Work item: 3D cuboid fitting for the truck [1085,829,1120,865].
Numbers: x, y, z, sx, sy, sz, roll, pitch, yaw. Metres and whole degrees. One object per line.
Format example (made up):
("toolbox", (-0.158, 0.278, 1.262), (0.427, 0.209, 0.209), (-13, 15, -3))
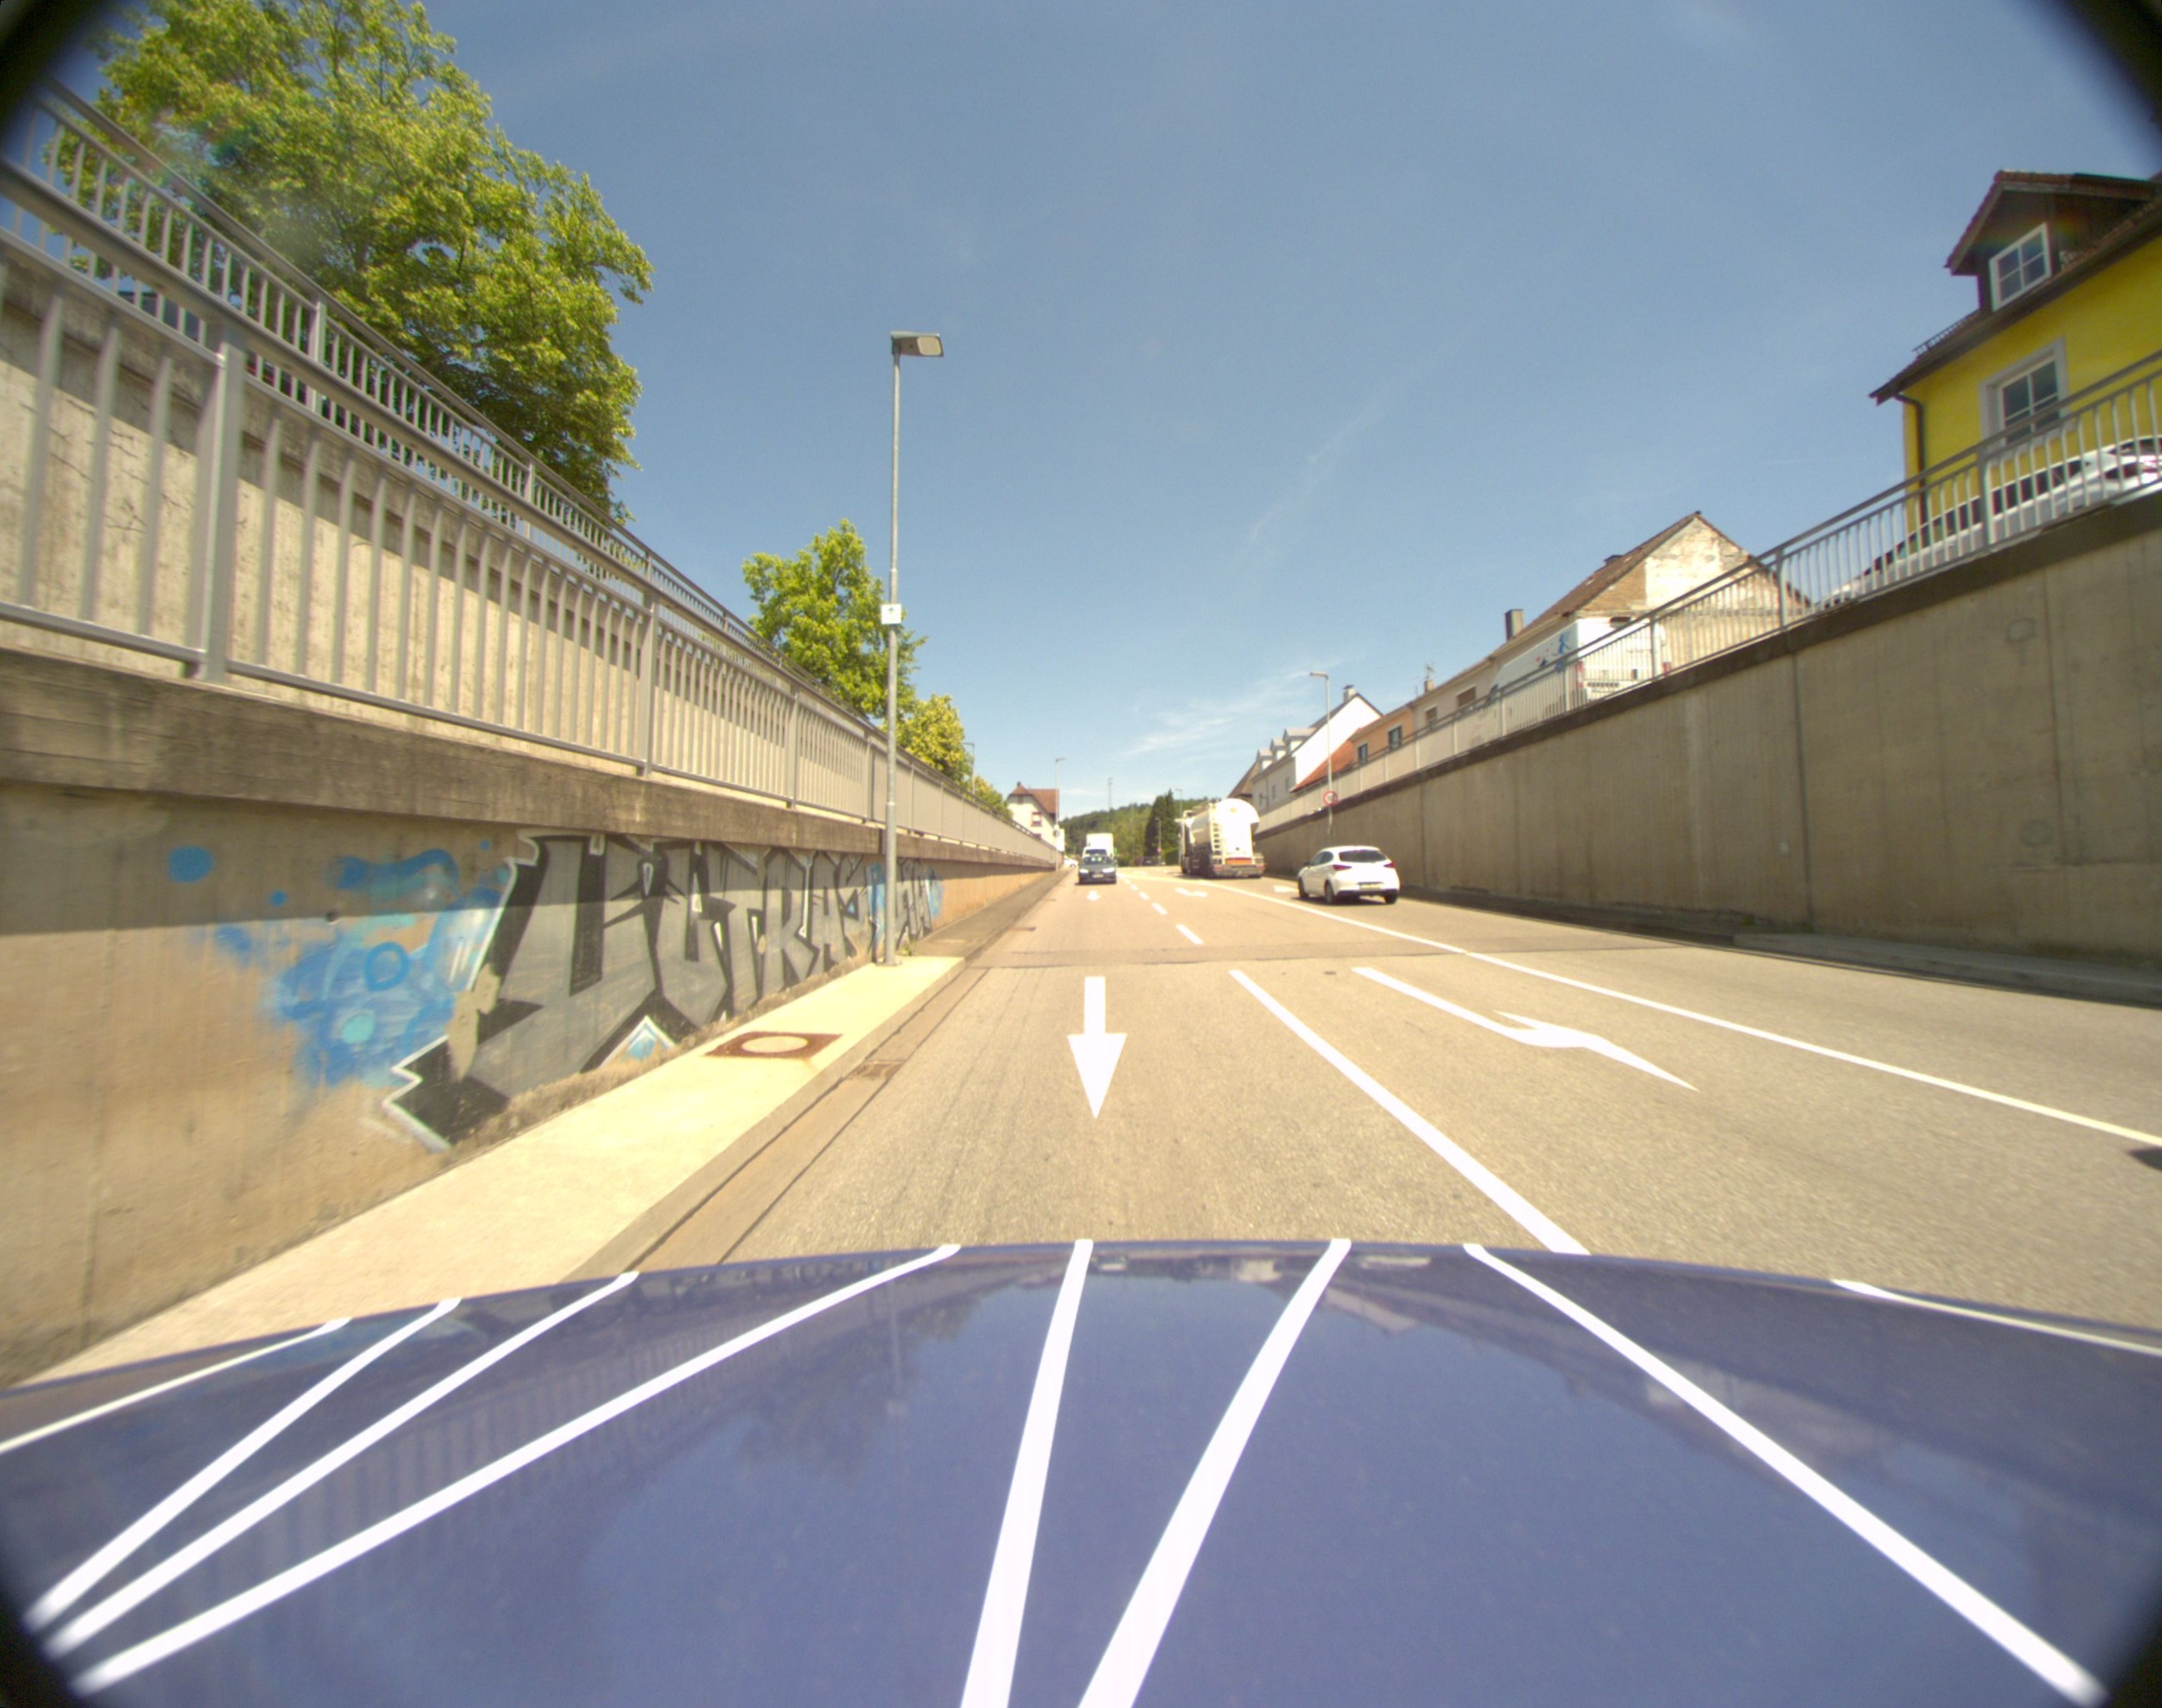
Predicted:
("truck", (2.078, -0.686, 77.731), (3.149, 3.467, 8.270), (0, 0, -1))

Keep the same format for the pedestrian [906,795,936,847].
("pedestrian", (-5.540, -1.123, 26.325), (0.838, 1.771, 0.788), (0, 0, 1))

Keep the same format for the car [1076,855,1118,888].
("car", (0.705, 0.808, 36.937), (1.864, 1.441, 3.999), (0, 0, -2))

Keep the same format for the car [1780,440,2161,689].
("car", (11.792, -3.432, 9.840), (1.623, 1.491, 4.046), (-1, -3, -1))

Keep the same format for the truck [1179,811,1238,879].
("truck", (7.657, -0.531, 46.435), (2.668, 3.838, 6.580), (-1, 0, 2))

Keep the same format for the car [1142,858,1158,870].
("car", (8.617, 1.231, 94.925), (1.765, 1.480, 4.369), (-1, 0, 3))

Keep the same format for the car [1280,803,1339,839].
("car", (12.228, -1.718, 40.933), (1.818, 1.453, 4.312), (-1, -3, 0))

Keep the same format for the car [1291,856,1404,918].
("car", (7.032, 0.803, 20.470), (1.686, 1.432, 4.093), (-1, 1, 2))

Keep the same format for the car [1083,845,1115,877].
("car", (1.174, 0.439, 51.229), (1.998, 2.002, 4.548), (-1, 0, 0))

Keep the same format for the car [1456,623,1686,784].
("car", (11.699, -3.429, 18.815), (2.070, 2.520, 5.665), (-2, -3, 2))

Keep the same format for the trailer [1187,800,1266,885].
("trailer", (7.494, -0.556, 40.374), (2.616, 3.941, 9.346), (-1, 0, 2))

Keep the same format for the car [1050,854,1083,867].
("car", (-1.737, 0.763, 89.015), (3.680, 1.469, 1.776), (2, -1, -4))
